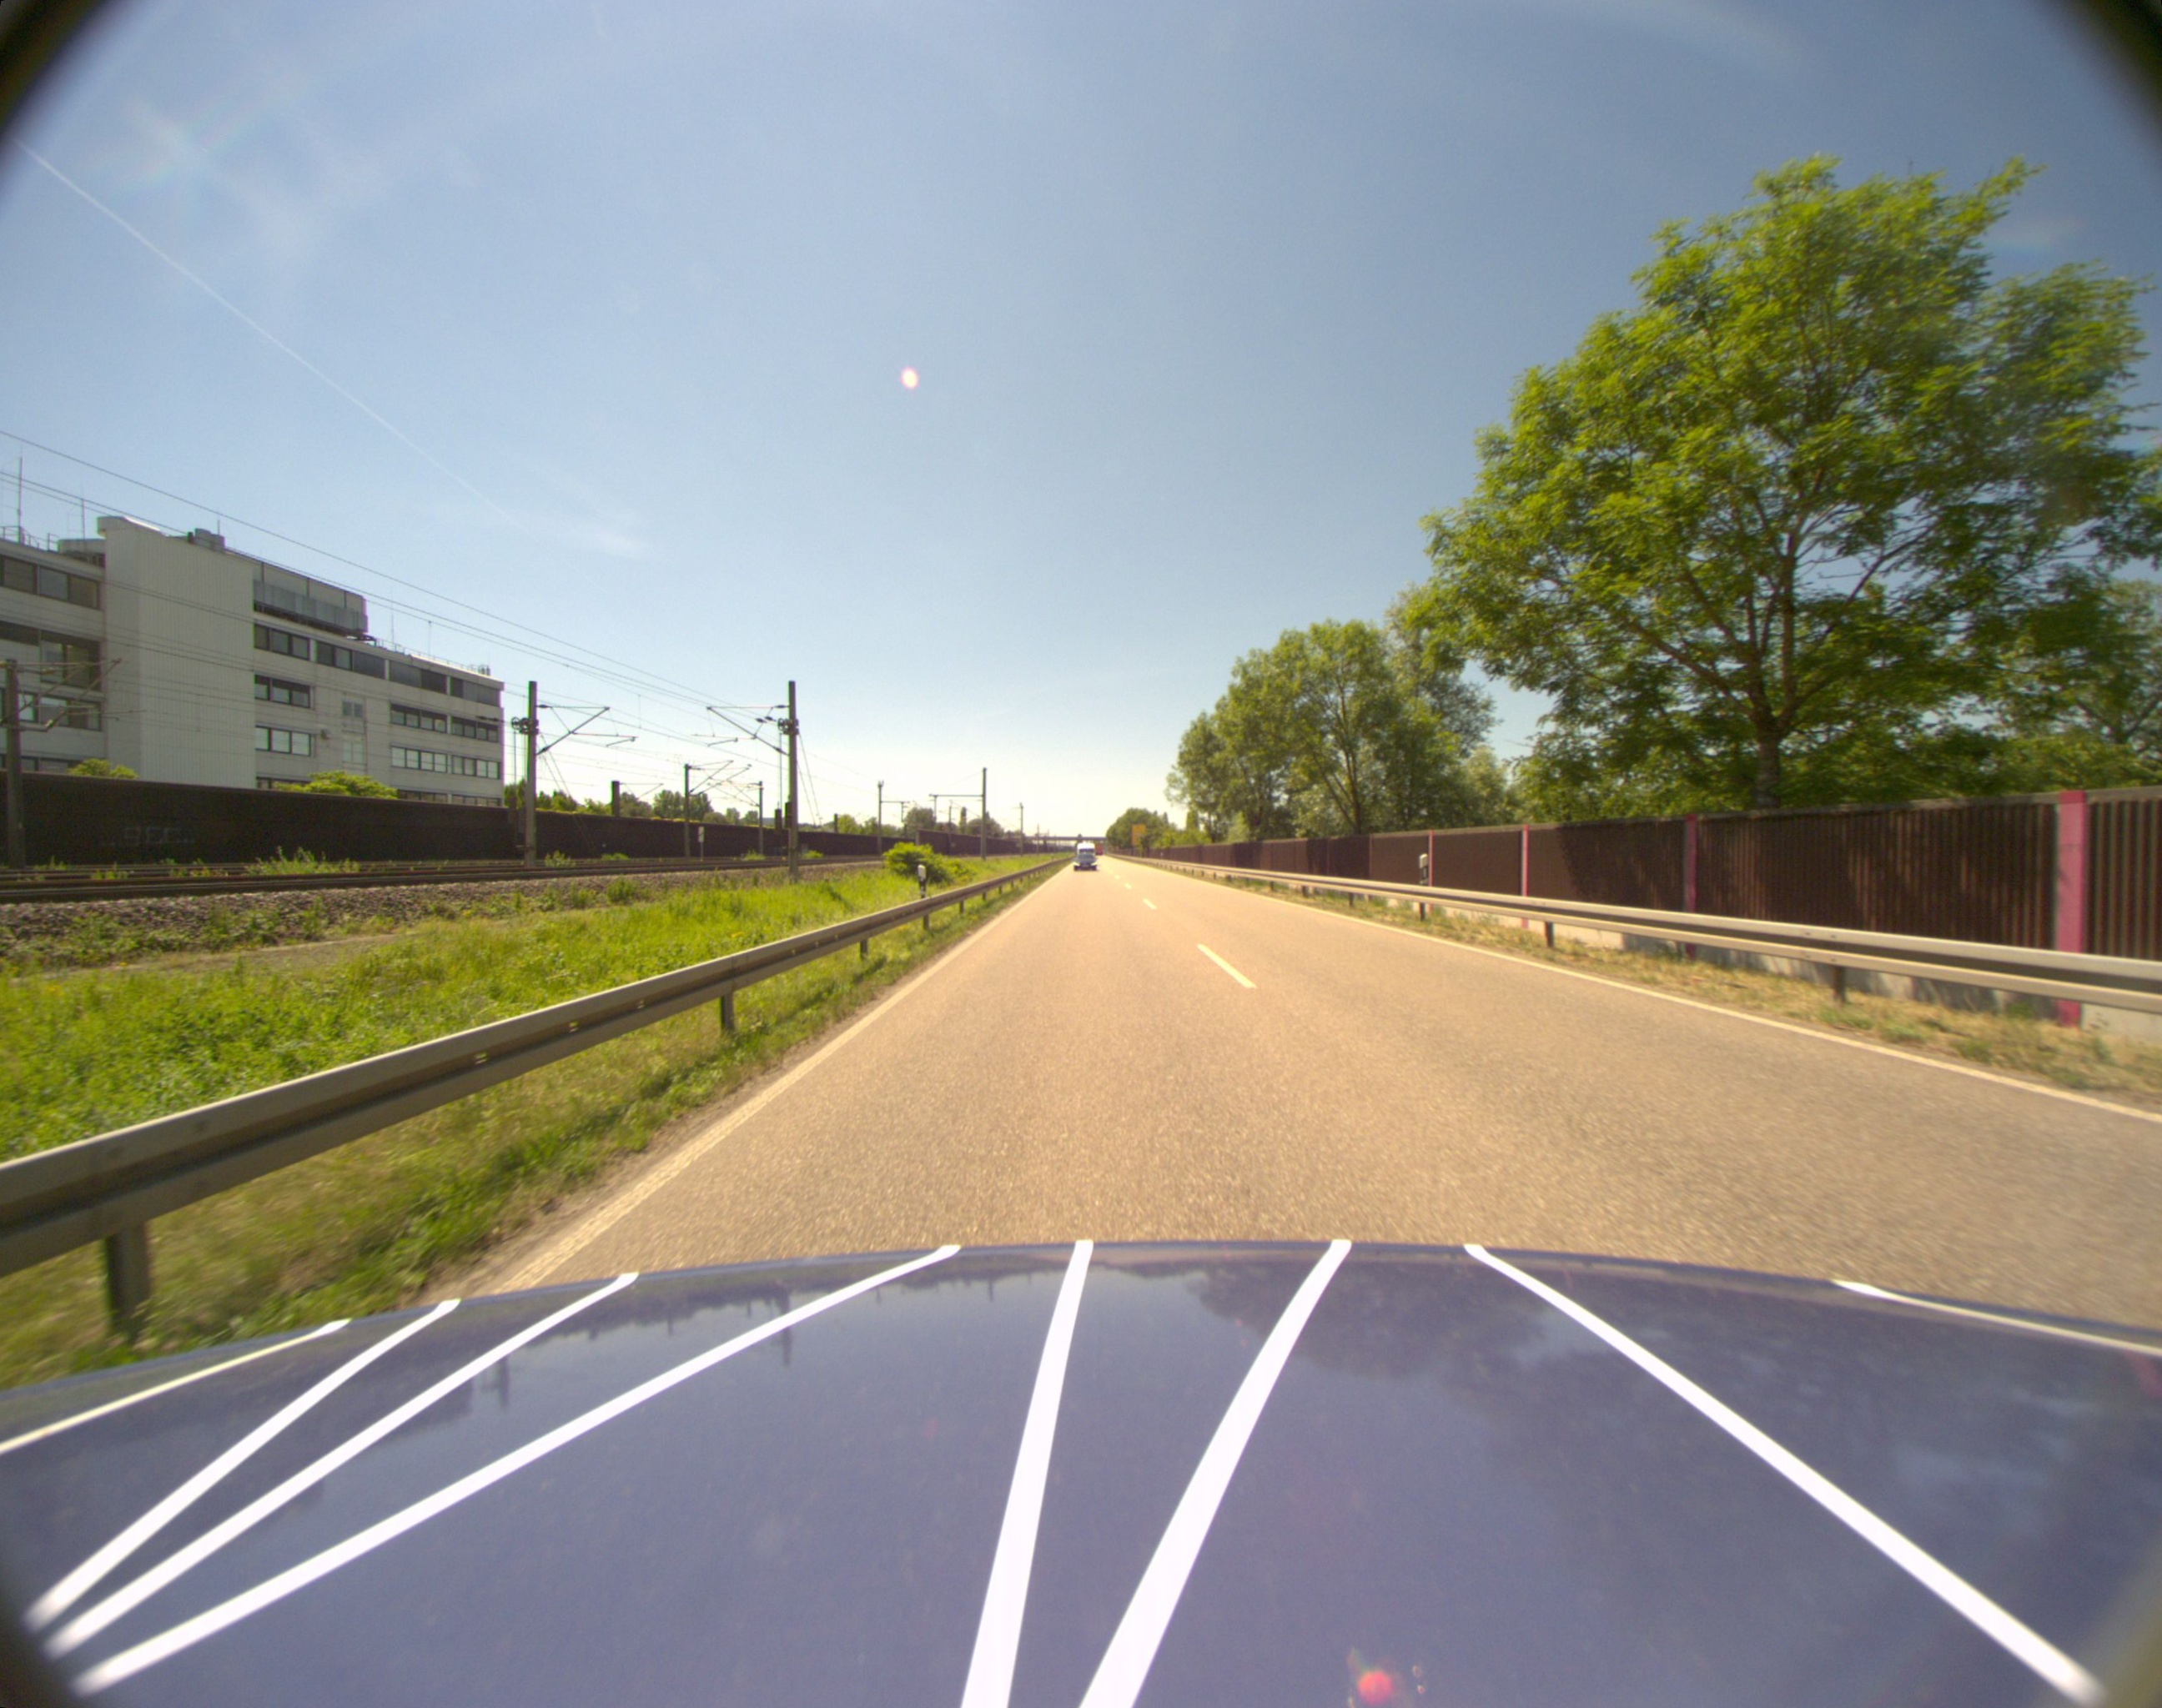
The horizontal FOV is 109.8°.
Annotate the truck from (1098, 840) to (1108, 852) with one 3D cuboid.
[{"bbox_3d":[7.568,-2.788,260.351,3.132,3.942,9.717,-2,1,1],"label":"truck"}]

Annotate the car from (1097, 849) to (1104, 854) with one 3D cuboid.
[{"bbox_3d":[6.281,-0.891,247.609,1.994,1.486,4.492,-2,1,1],"label":"car"}]

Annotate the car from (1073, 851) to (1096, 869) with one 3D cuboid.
[{"bbox_3d":[0.324,0.452,61.502,1.758,1.313,4.000,-2,1,1],"label":"car"}]

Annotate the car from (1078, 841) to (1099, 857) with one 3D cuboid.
[{"bbox_3d":[0.856,-0.574,86.173,2.161,1.702,4.492,-2,1,1],"label":"car"}]
